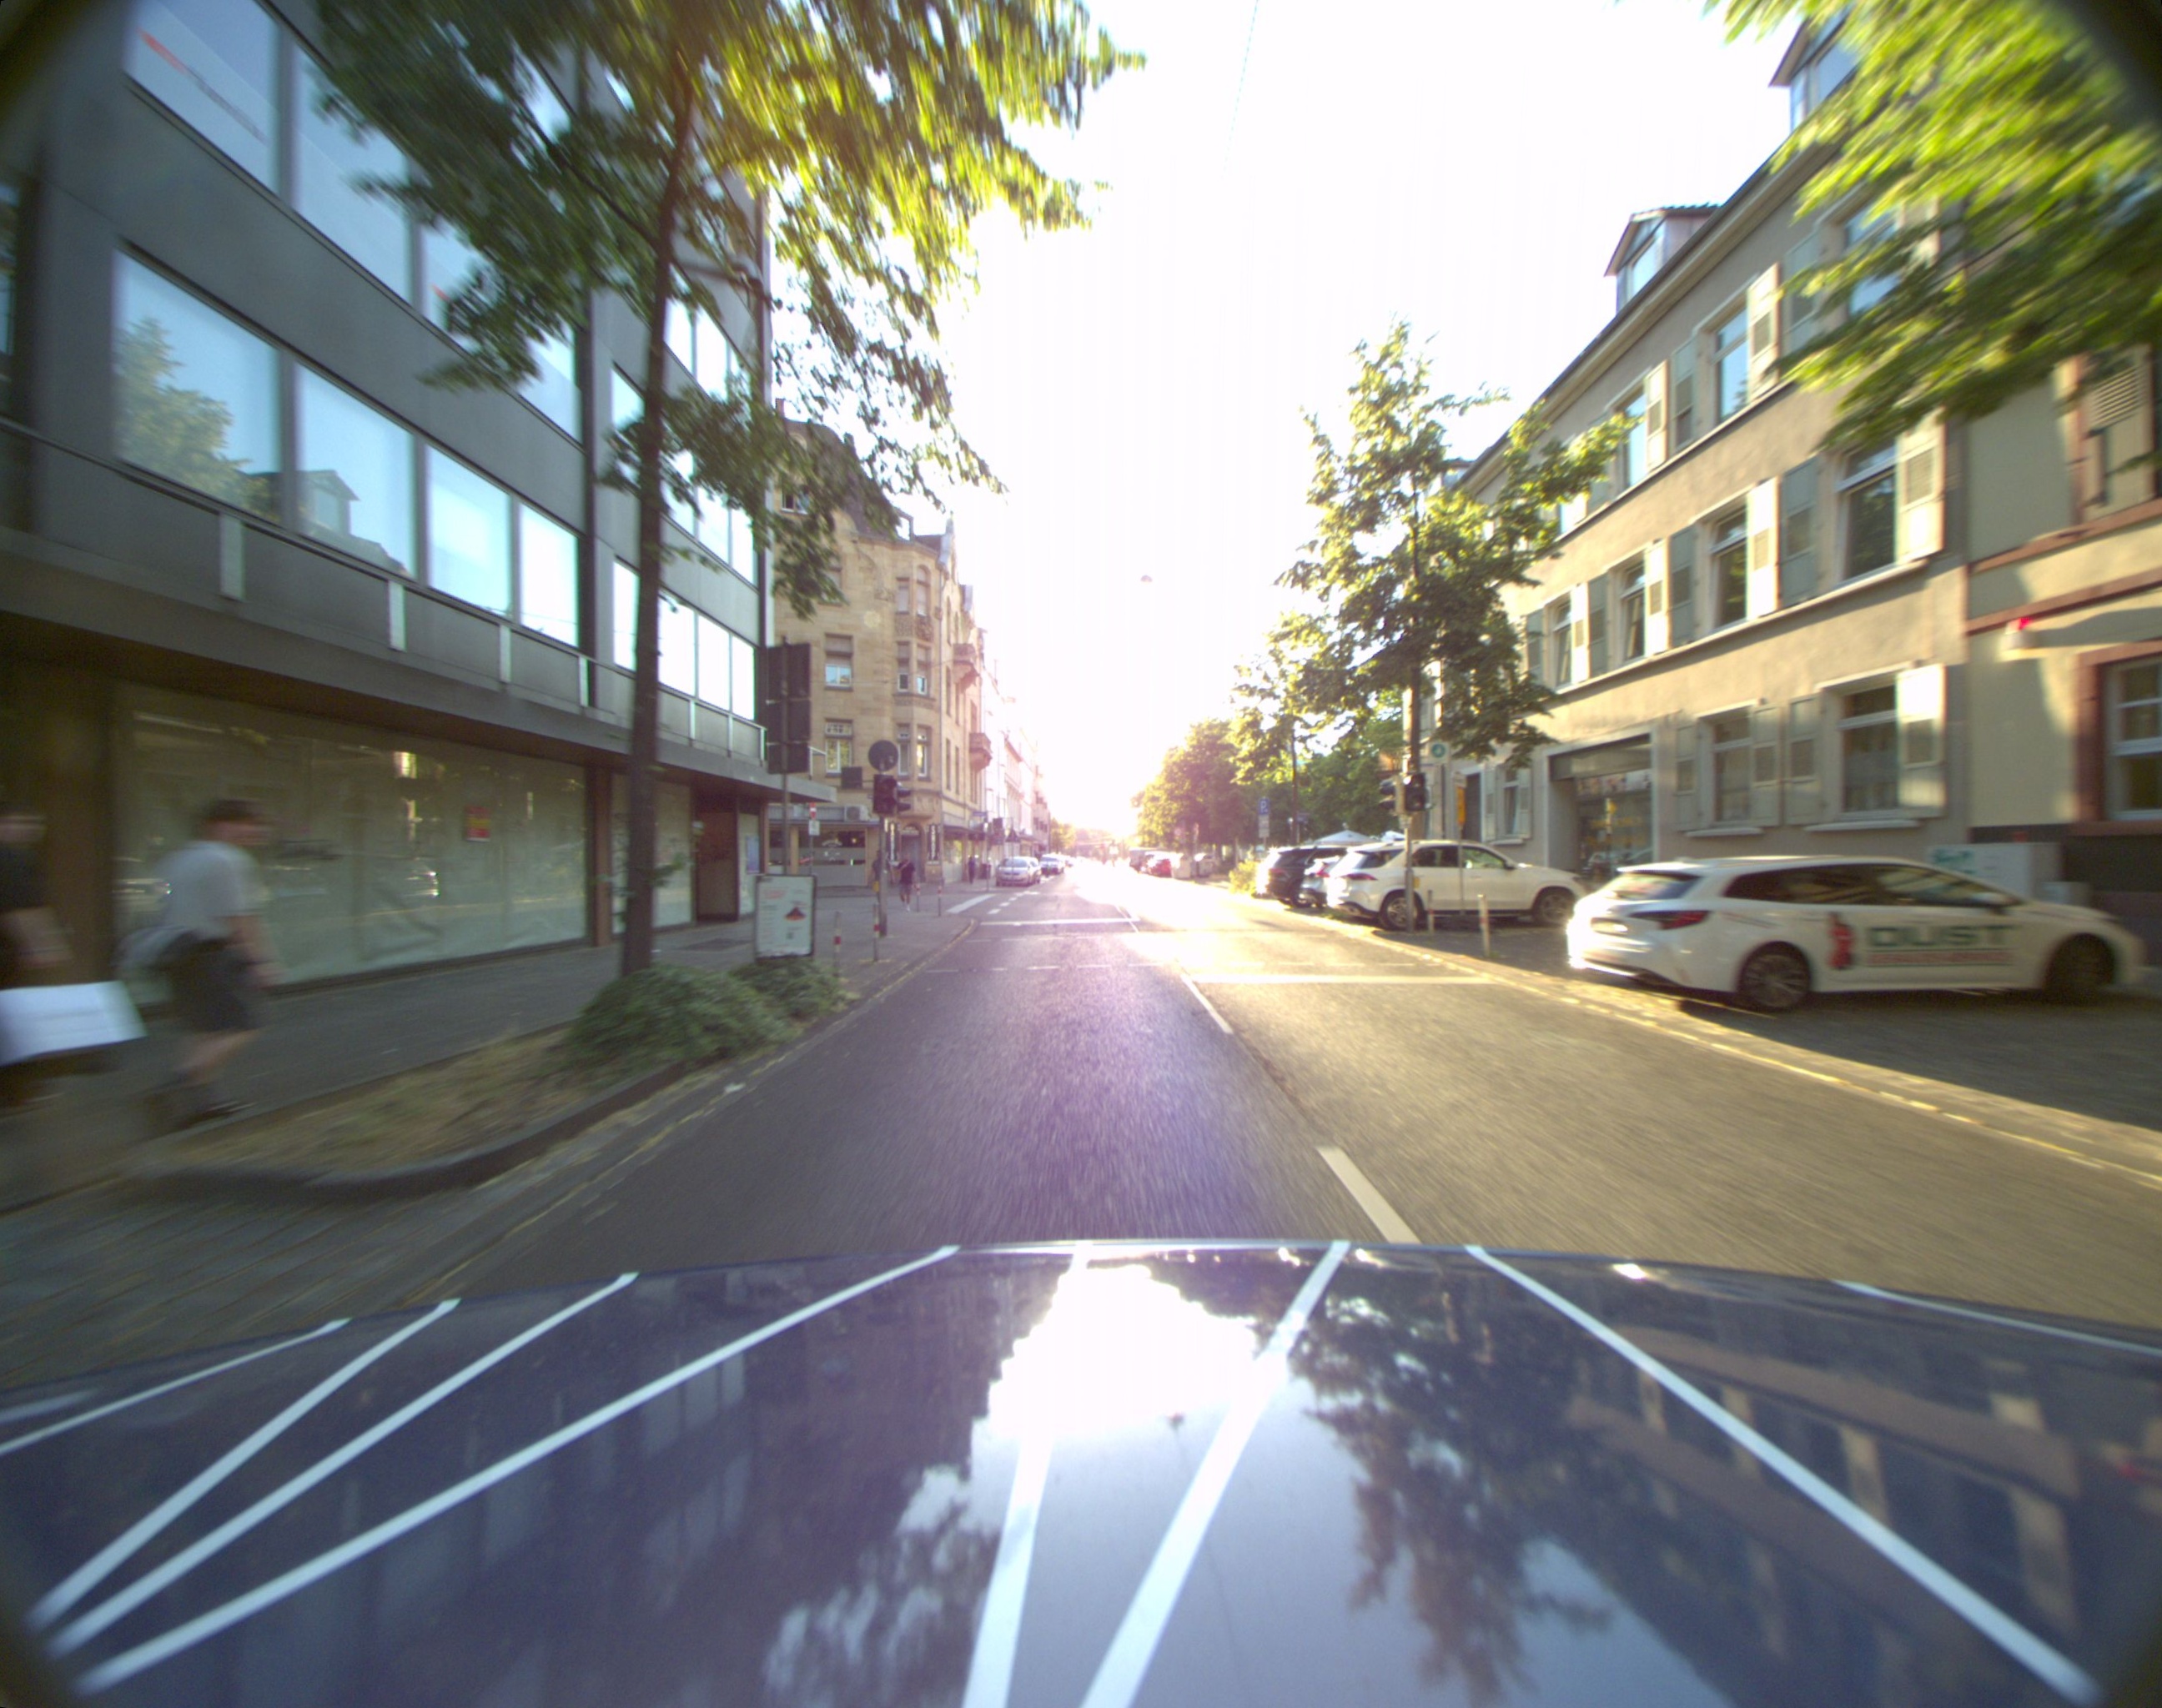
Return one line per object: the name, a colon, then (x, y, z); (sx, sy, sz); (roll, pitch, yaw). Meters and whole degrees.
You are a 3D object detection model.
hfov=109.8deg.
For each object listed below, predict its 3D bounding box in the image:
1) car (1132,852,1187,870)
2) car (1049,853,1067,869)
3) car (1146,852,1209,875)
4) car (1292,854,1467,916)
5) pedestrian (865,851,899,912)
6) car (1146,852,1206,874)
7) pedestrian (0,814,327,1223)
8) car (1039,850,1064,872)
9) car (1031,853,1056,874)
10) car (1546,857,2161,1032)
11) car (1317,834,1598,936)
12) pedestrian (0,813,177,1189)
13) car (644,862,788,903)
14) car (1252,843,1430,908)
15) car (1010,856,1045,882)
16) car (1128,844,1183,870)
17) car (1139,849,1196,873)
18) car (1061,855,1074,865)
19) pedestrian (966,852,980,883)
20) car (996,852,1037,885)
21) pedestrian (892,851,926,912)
car: (7.203, 0.604, 69.587); (4.577, 1.573, 2.131); (-1, 0, -28)
car: (-2.550, 0.752, 84.649); (1.758, 1.638, 3.793); (3, 0, 1)
car: (7.121, 0.689, 55.807); (4.579, 1.548, 1.809); (-1, 0, -37)
car: (7.663, 0.772, 19.788); (3.825, 1.453, 1.821); (-1, 0, 1)
pedestrian: (-5.851, 0.784, 22.328); (0.756, 1.748, 0.812); (0, 1, 0)
car: (7.425, 0.682, 59.289); (4.579, 1.623, 1.896); (-1, 0, -37)
pedestrian: (-4.600, 0.724, 3.789); (0.731, 1.775, 0.870); (3, 1, 1)
car: (-2.728, 0.635, 72.203); (1.867, 1.900, 4.256); (3, 0, 4)
car: (-3.118, 0.756, 63.962); (1.758, 1.638, 3.793); (3, 0, 1)
car: (7.496, 0.813, 7.710); (4.393, 1.414, 1.822); (-2, 0, 0)
car: (7.555, 0.596, 15.664); (4.718, 1.800, 2.053); (-2, 0, 2)
pedestrian: (-5.598, 0.678, 3.769); (1.049, 1.775, 0.945); (2, 1, 1)
car: (-13.783, 1.049, 28.997); (4.772, 1.409, 1.976); (-1, 0, -23)
car: (7.575, 0.596, 22.456); (4.567, 1.772, 1.946); (-1, 1, 0)
car: (-3.227, 0.892, 46.157); (1.580, 1.450, 3.588); (3, 0, 4)
car: (7.164, 0.278, 72.759); (4.782, 2.344, 2.153); (-1, 0, -27)
car: (7.160, 0.549, 62.562); (4.579, 1.922, 1.896); (-1, 0, -37)
car: (-2.027, 0.888, 116.714); (1.804, 1.570, 4.403); (2, 0, 1)
pedestrian: (-5.957, 0.736, 41.830); (0.599, 1.653, 0.603); (1, 1, 6)
car: (-3.460, 0.769, 41.335); (1.758, 1.638, 3.793); (3, 0, 1)
pedestrian: (-4.987, 0.793, 22.083); (0.756, 1.748, 0.812); (0, 1, 0)
